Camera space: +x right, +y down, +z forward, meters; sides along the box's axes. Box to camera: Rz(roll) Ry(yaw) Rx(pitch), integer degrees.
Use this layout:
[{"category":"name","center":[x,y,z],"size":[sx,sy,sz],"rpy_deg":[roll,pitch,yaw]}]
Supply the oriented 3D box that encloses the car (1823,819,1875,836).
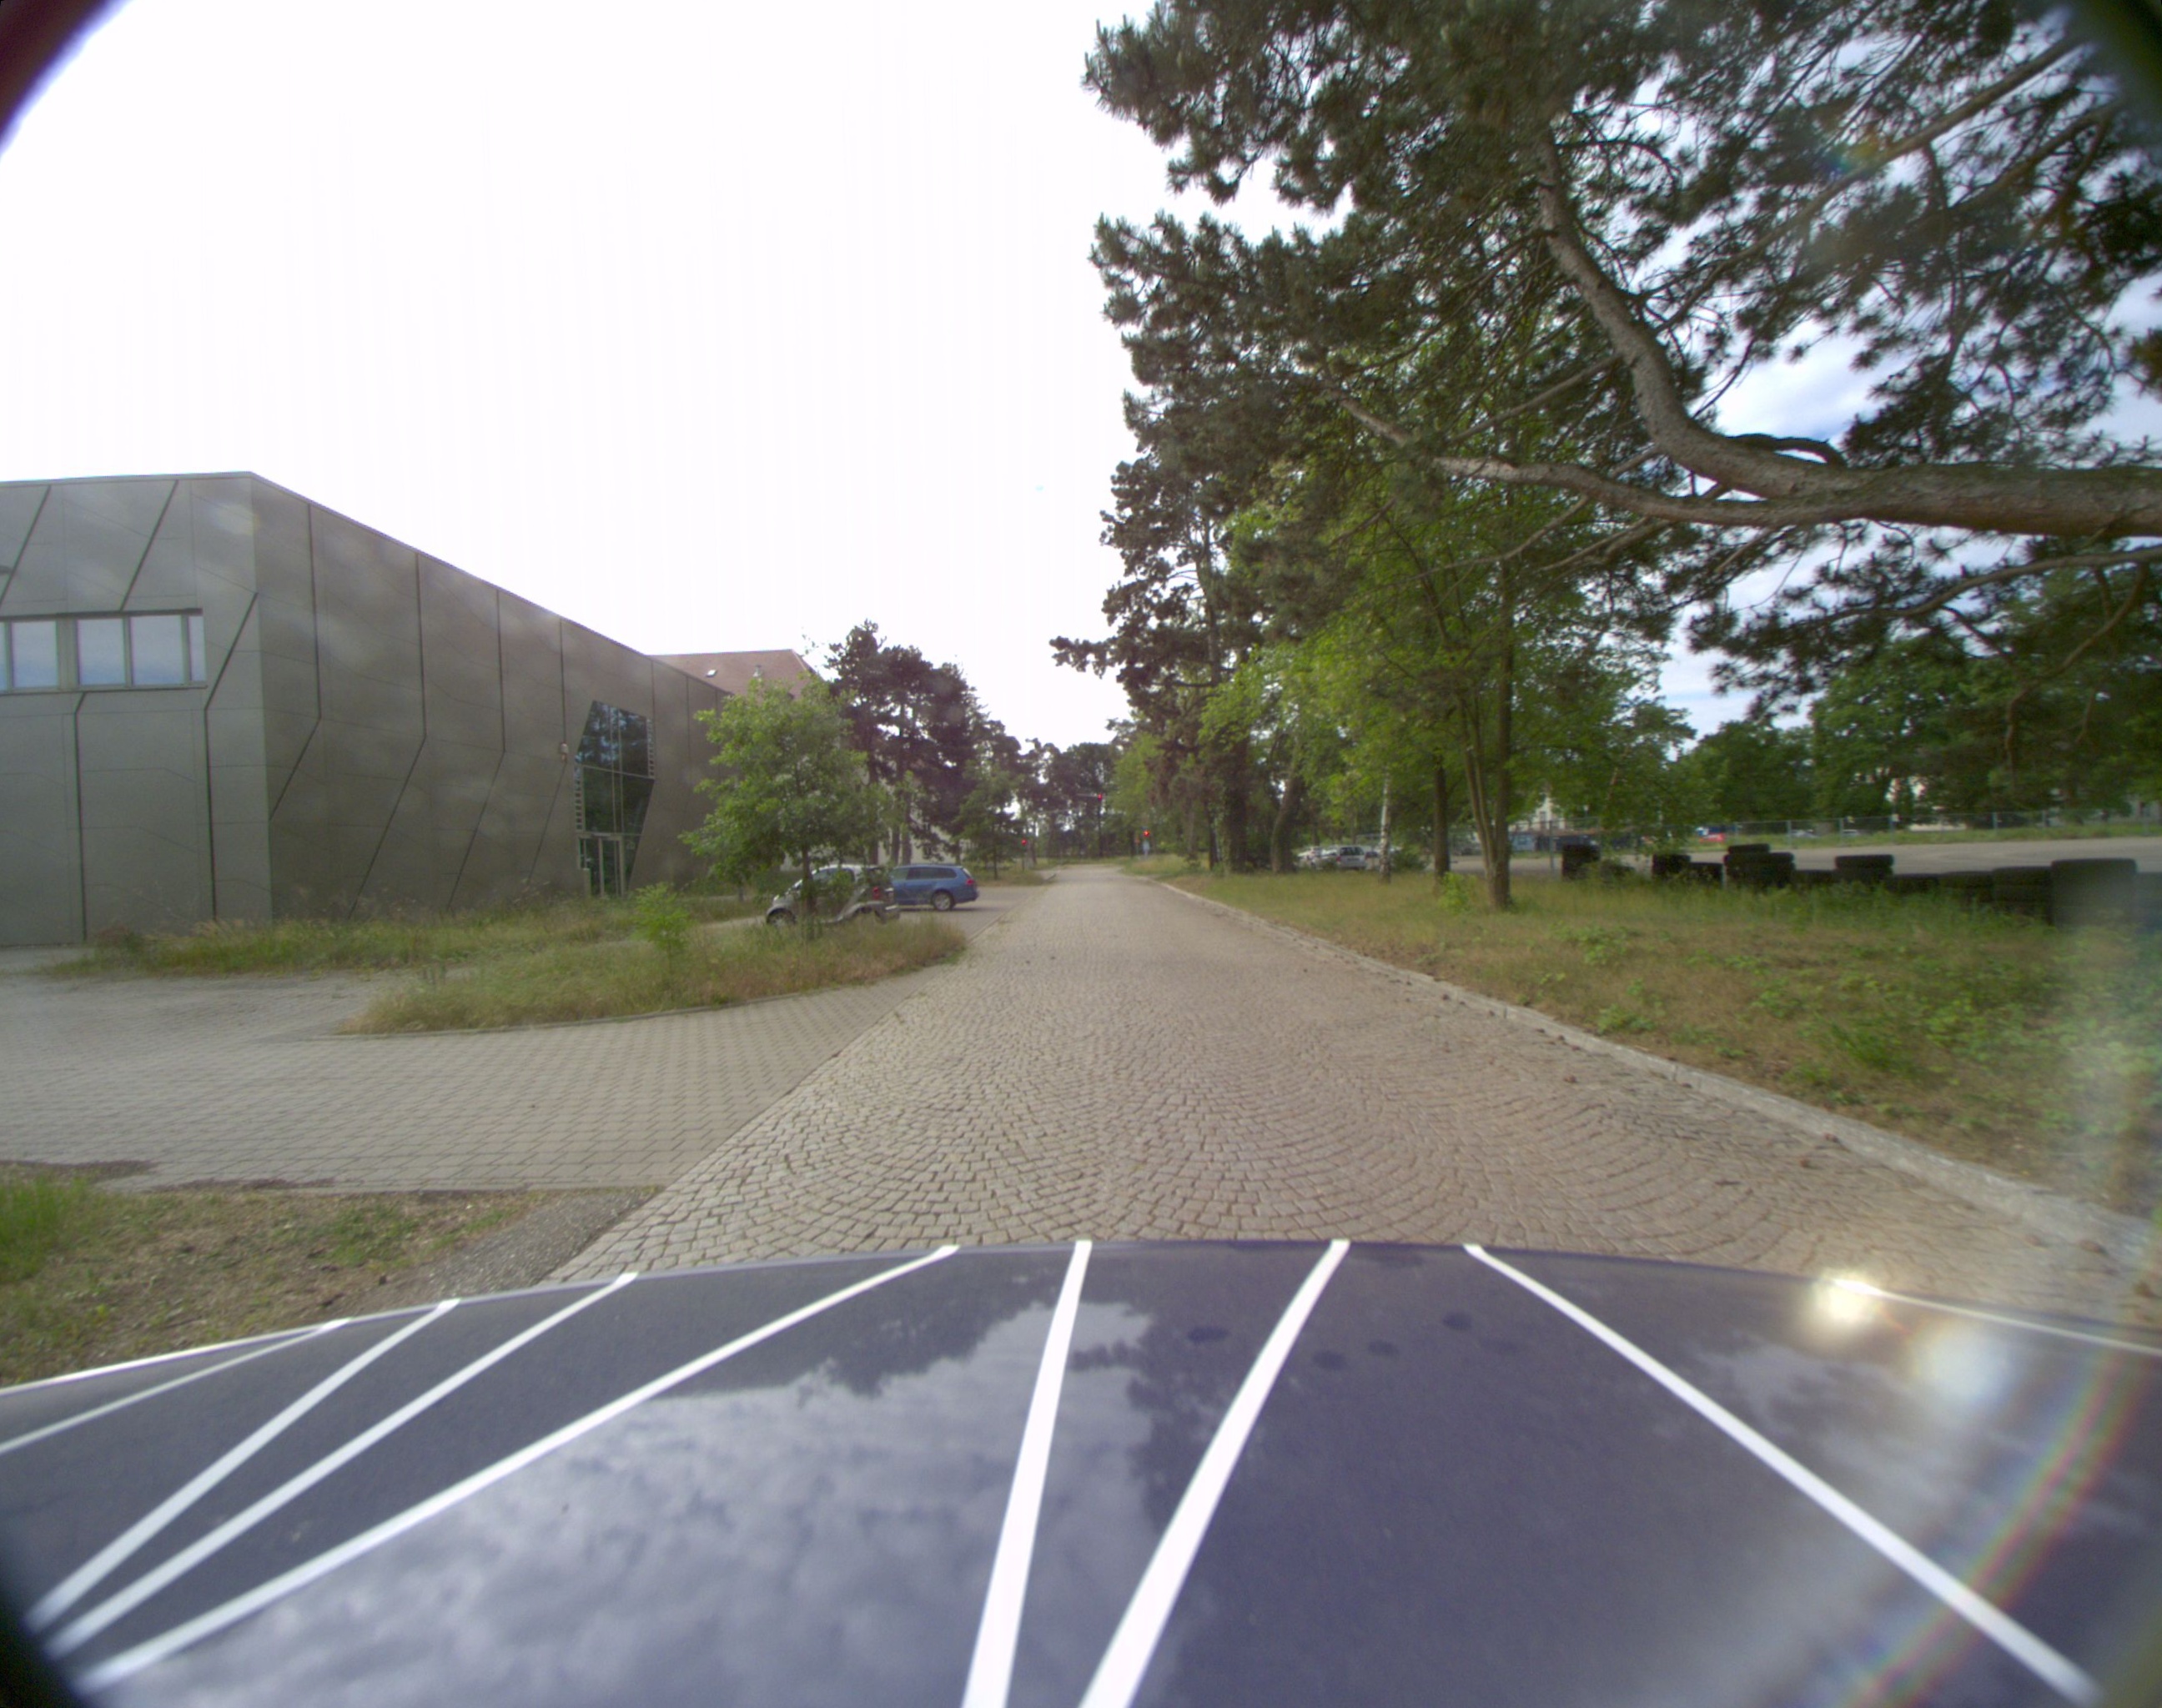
[{"category":"car","center":[88.356,-3.028,87.474],"size":[1.828,1.712,4.585],"rpy_deg":[-2,0,8]}]

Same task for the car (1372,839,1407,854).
[{"category":"car","center":[31.298,-0.746,77.196],"size":[1.637,1.391,4.036],"rpy_deg":[-2,0,-3]}]

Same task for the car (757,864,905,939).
[{"category":"car","center":[-5.525,1.034,17.049],"size":[2.716,1.547,1.654],"rpy_deg":[-1,1,2]}]

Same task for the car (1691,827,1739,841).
[{"category":"car","center":[73.385,-2.300,87.999],"size":[1.829,1.467,4.402],"rpy_deg":[-2,0,0]}]

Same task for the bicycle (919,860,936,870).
[{"category":"bicycle","center":[-16.706,1.192,82.489],"size":[1.655,1.079,0.615],"rpy_deg":[-2,1,2]}]

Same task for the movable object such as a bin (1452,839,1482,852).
[{"category":"movable object such as a bin","center":[32.540,-0.723,64.088],"size":[1.448,0.963,1.957],"rpy_deg":[-2,0,-7]}]

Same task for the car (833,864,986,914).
[{"category":"car","center":[-5.399,1.078,24.409],"size":[4.503,1.467,1.830],"rpy_deg":[0,1,-2]}]

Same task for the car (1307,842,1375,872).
[{"category":"car","center":[13.168,0.137,38.752],"size":[1.829,1.408,4.420],"rpy_deg":[0,0,-2]}]

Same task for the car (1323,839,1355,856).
[{"category":"car","center":[25.855,-0.617,76.286],"size":[1.674,1.511,3.899],"rpy_deg":[-2,-1,-3]}]

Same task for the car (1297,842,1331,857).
[{"category":"car","center":[23.351,-0.478,76.232],"size":[1.829,1.417,4.319],"rpy_deg":[-2,0,-3]}]

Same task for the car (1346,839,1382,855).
[{"category":"car","center":[28.502,-0.725,76.704],"size":[1.829,1.467,4.401],"rpy_deg":[-2,0,-3]}]
